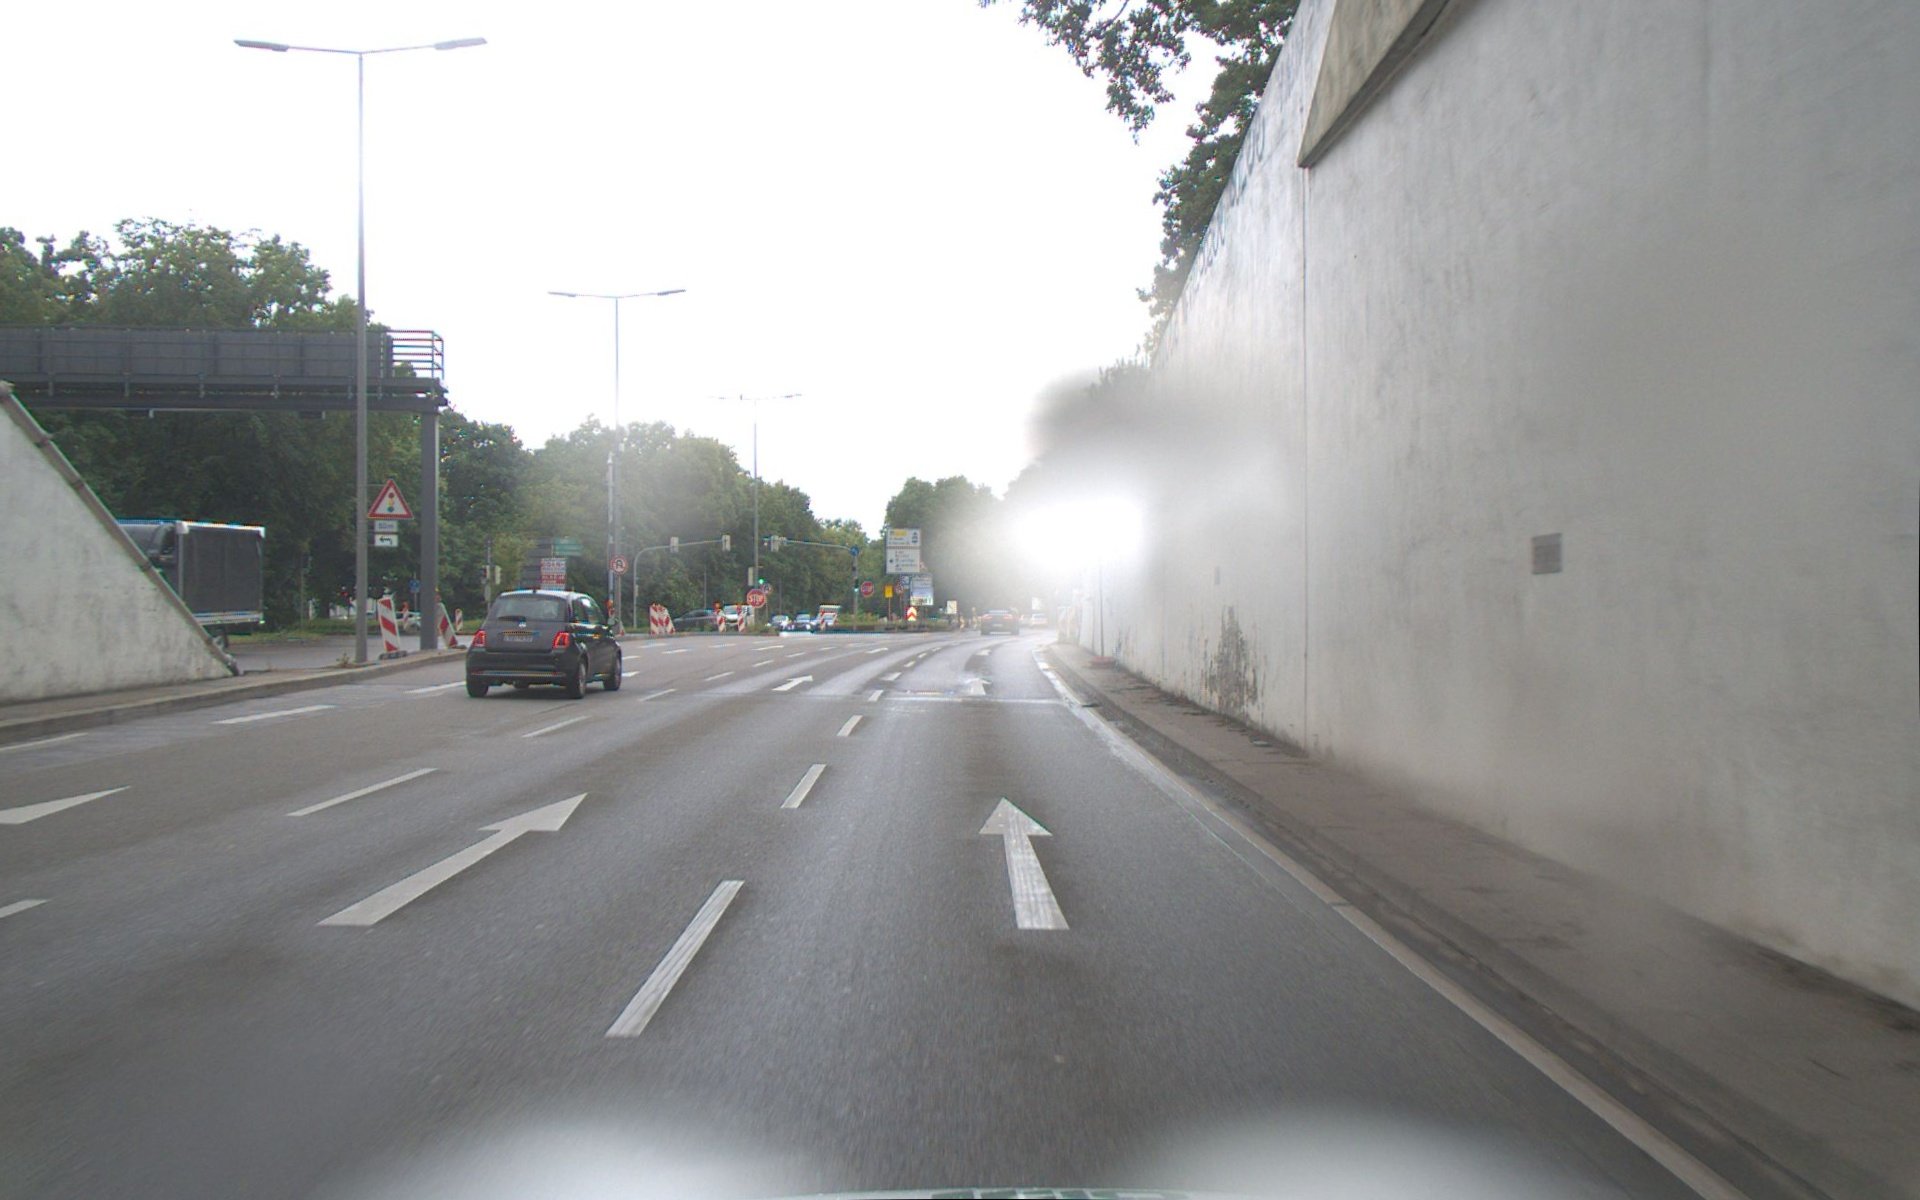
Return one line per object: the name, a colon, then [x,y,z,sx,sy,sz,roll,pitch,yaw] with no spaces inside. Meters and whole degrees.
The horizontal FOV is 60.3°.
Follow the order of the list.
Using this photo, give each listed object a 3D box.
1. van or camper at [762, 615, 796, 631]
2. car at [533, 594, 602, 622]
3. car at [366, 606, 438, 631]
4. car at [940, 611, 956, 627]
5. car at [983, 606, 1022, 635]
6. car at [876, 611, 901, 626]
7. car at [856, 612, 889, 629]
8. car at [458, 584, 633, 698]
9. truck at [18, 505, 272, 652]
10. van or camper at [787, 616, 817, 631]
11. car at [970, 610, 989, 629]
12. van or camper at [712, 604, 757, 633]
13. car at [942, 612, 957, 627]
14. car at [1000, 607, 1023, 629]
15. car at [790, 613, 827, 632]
van or camper: [-15.074,1.945,137.988,1.966,1.324,4.094,1,-1,5]
car: [-24.715,0.508,104.193,3.904,1.713,1.898,0,1,1]
car: [-35.530,1.181,105.397,3.904,1.540,1.898,0,1,1]
car: [-1.571,2.570,220.455,1.953,2.049,3.998,1,-1,-2]
car: [2.198,1.093,86.696,1.952,1.473,4.314,1,-1,0]
car: [-6.694,1.750,154.871,1.967,1.324,4.316,1,-1,2]
car: [-6.936,1.629,131.800,1.966,1.324,4.318,1,-1,5]
car: [-5.971,0.544,24.198,1.579,1.479,3.573,2,0,0]
truck: [-20.326,-0.515,41.806,2.740,3.334,7.147,1,0,1]
van or camper: [-14.415,2.182,151.173,1.966,1.324,4.094,1,-1,5]
car: [2.189,2.187,188.135,1.953,2.049,3.998,1,-1,-2]
van or camper: [-16.394,1.365,120.381,2.083,2.049,5.317,1,-1,5]
car: [-1.502,2.836,235.890,1.953,2.049,3.998,1,-1,-2]
car: [4.941,1.717,158.501,1.953,2.049,3.998,1,-1,-2]
car: [-11.020,1.647,120.581,1.966,1.324,4.318,1,-1,5]
